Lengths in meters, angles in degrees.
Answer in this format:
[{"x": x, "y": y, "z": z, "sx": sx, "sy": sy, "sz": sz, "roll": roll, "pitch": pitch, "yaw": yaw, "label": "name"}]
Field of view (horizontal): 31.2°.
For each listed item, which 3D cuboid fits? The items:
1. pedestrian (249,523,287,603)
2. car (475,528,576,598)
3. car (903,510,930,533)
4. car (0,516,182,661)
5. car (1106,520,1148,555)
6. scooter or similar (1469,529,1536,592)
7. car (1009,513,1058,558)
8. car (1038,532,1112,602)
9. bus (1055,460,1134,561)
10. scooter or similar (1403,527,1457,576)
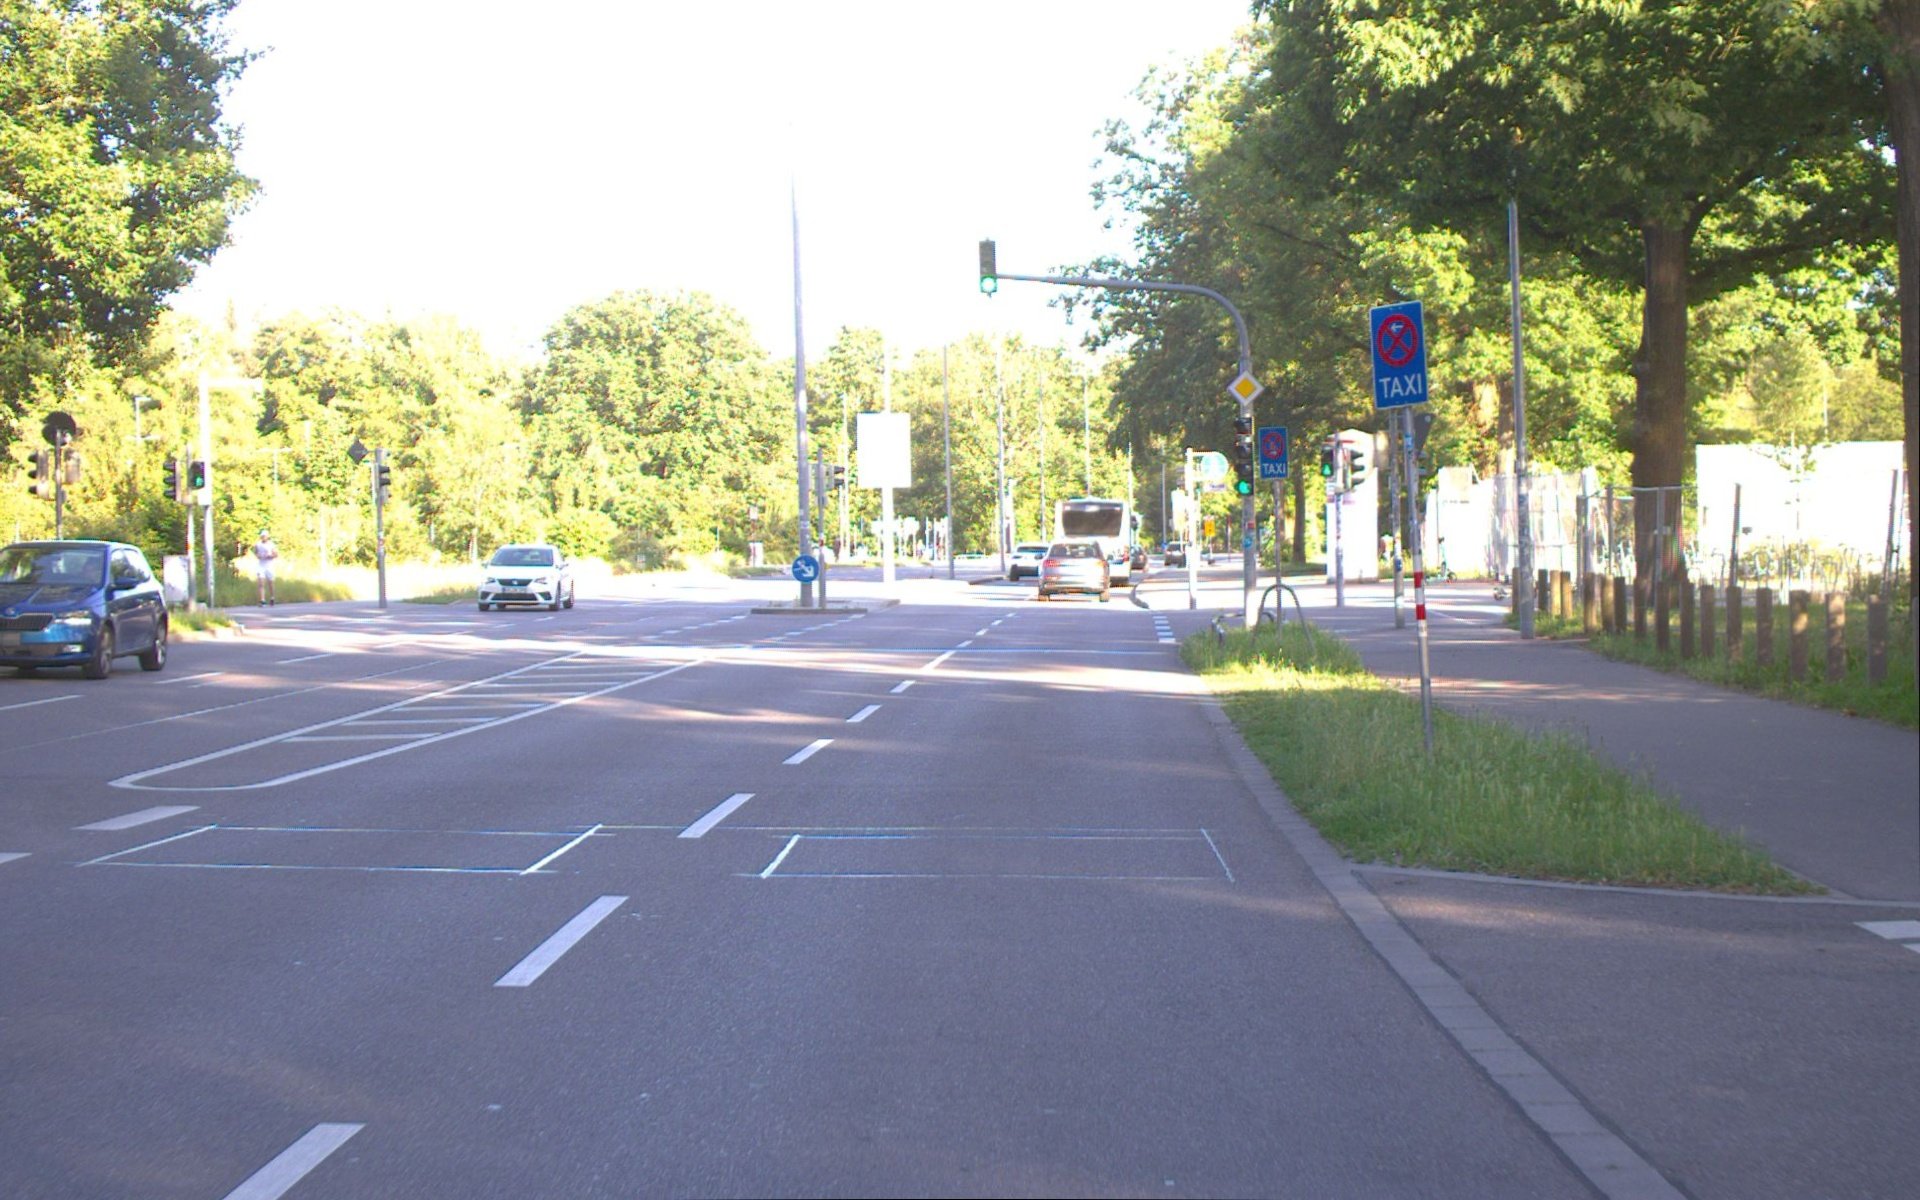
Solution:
[{"x": -16.614, "y": -0.894, "z": 82.574, "sx": 0.612, "sy": 1.903, "sz": 1.106, "roll": -1, "pitch": 0, "yaw": 2, "label": "pedestrian"}, {"x": -9.530, "y": -0.827, "z": 75.579, "sx": 1.710, "sy": 1.459, "sz": 4.101, "roll": 1, "pitch": 1, "yaw": -1, "label": "car"}, {"x": -3.265, "y": -5.923, "z": 259.997, "sx": 1.863, "sy": 1.678, "sz": 3.772, "roll": -1, "pitch": 1, "yaw": 2, "label": "car"}, {"x": -9.839, "y": -0.161, "z": 37.737, "sx": 1.655, "sy": 1.503, "sz": 4.000, "roll": -1, "pitch": 1, "yaw": 0, "label": "car"}, {"x": 8.425, "y": -3.163, "z": 173.234, "sx": 1.863, "sy": 1.678, "sz": 3.772, "roll": -1, "pitch": 1, "yaw": 6, "label": "car"}, {"x": 11.551, "y": -0.844, "z": 73.197, "sx": 1.357, "sy": 1.283, "sz": 0.604, "roll": -1, "pitch": 5, "yaw": -40, "label": "scooter or similar"}, {"x": 2.992, "y": -2.598, "z": 138.535, "sx": 1.880, "sy": 1.759, "sz": 4.000, "roll": -1, "pitch": 2, "yaw": 2, "label": "car"}, {"x": 3.049, "y": -0.887, "z": 90.908, "sx": 1.880, "sy": 1.759, "sz": 4.000, "roll": -1, "pitch": 2, "yaw": 2, "label": "car"}, {"x": 4.637, "y": -3.106, "z": 118.886, "sx": 2.605, "sy": 3.357, "sz": 7.975, "roll": 0, "pitch": 1, "yaw": 2, "label": "bus"}, {"x": 12.033, "y": -1.240, "z": 87.943, "sx": 0.569, "sy": 1.252, "sz": 1.596, "roll": 0, "pitch": 1, "yaw": 41, "label": "scooter or similar"}]
